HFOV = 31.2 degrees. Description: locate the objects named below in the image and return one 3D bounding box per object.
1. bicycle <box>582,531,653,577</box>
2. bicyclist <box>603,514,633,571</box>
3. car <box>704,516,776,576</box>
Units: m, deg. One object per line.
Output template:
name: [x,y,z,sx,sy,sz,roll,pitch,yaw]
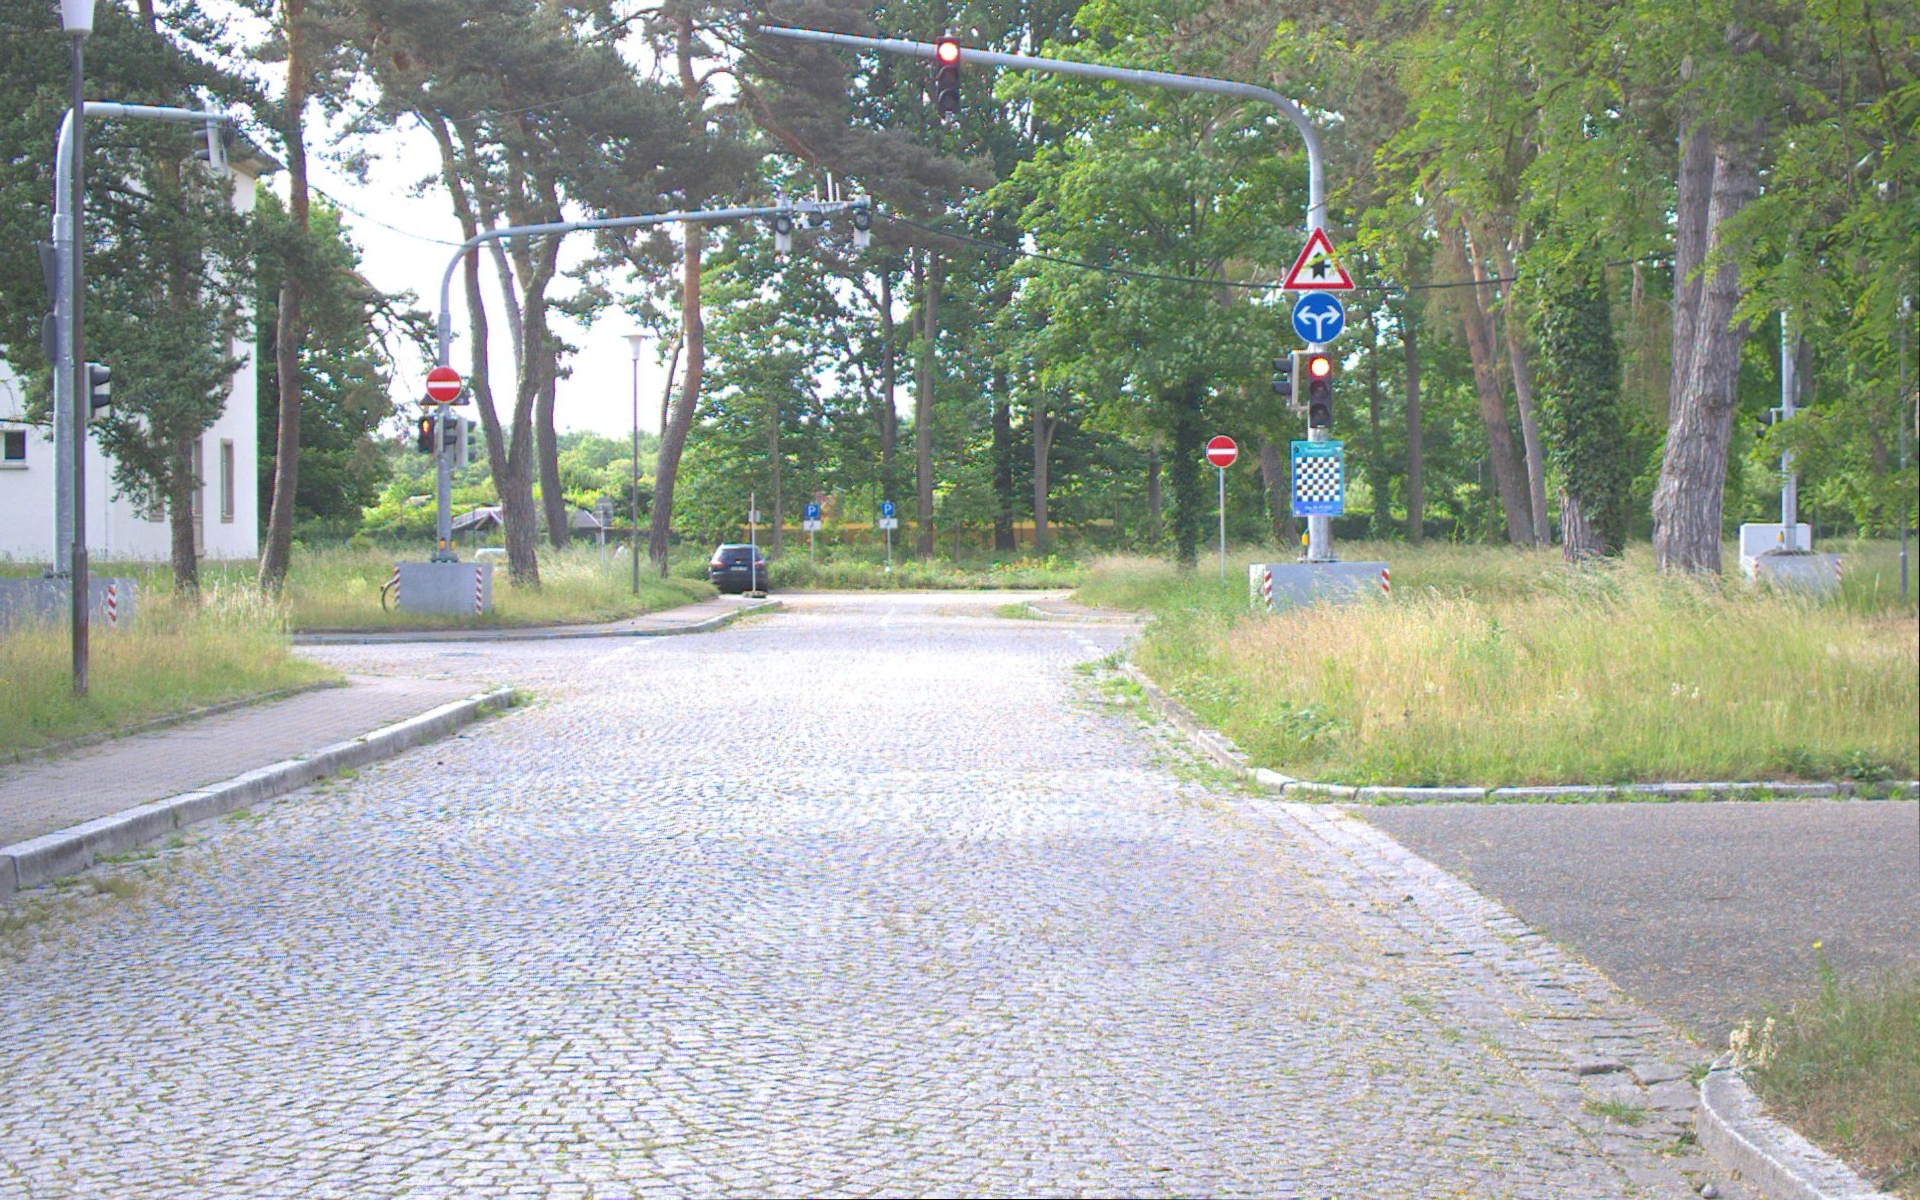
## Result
bicycle: [-10.048,-1.355,100.796,1.970,1.316,0.518,1,1,9]
bicyclist: [-10.017,-1.682,100.787,0.749,1.665,0.526,1,0,9]
car: [-6.829,-1.694,107.144,2.056,1.840,4.000,0,1,-1]
